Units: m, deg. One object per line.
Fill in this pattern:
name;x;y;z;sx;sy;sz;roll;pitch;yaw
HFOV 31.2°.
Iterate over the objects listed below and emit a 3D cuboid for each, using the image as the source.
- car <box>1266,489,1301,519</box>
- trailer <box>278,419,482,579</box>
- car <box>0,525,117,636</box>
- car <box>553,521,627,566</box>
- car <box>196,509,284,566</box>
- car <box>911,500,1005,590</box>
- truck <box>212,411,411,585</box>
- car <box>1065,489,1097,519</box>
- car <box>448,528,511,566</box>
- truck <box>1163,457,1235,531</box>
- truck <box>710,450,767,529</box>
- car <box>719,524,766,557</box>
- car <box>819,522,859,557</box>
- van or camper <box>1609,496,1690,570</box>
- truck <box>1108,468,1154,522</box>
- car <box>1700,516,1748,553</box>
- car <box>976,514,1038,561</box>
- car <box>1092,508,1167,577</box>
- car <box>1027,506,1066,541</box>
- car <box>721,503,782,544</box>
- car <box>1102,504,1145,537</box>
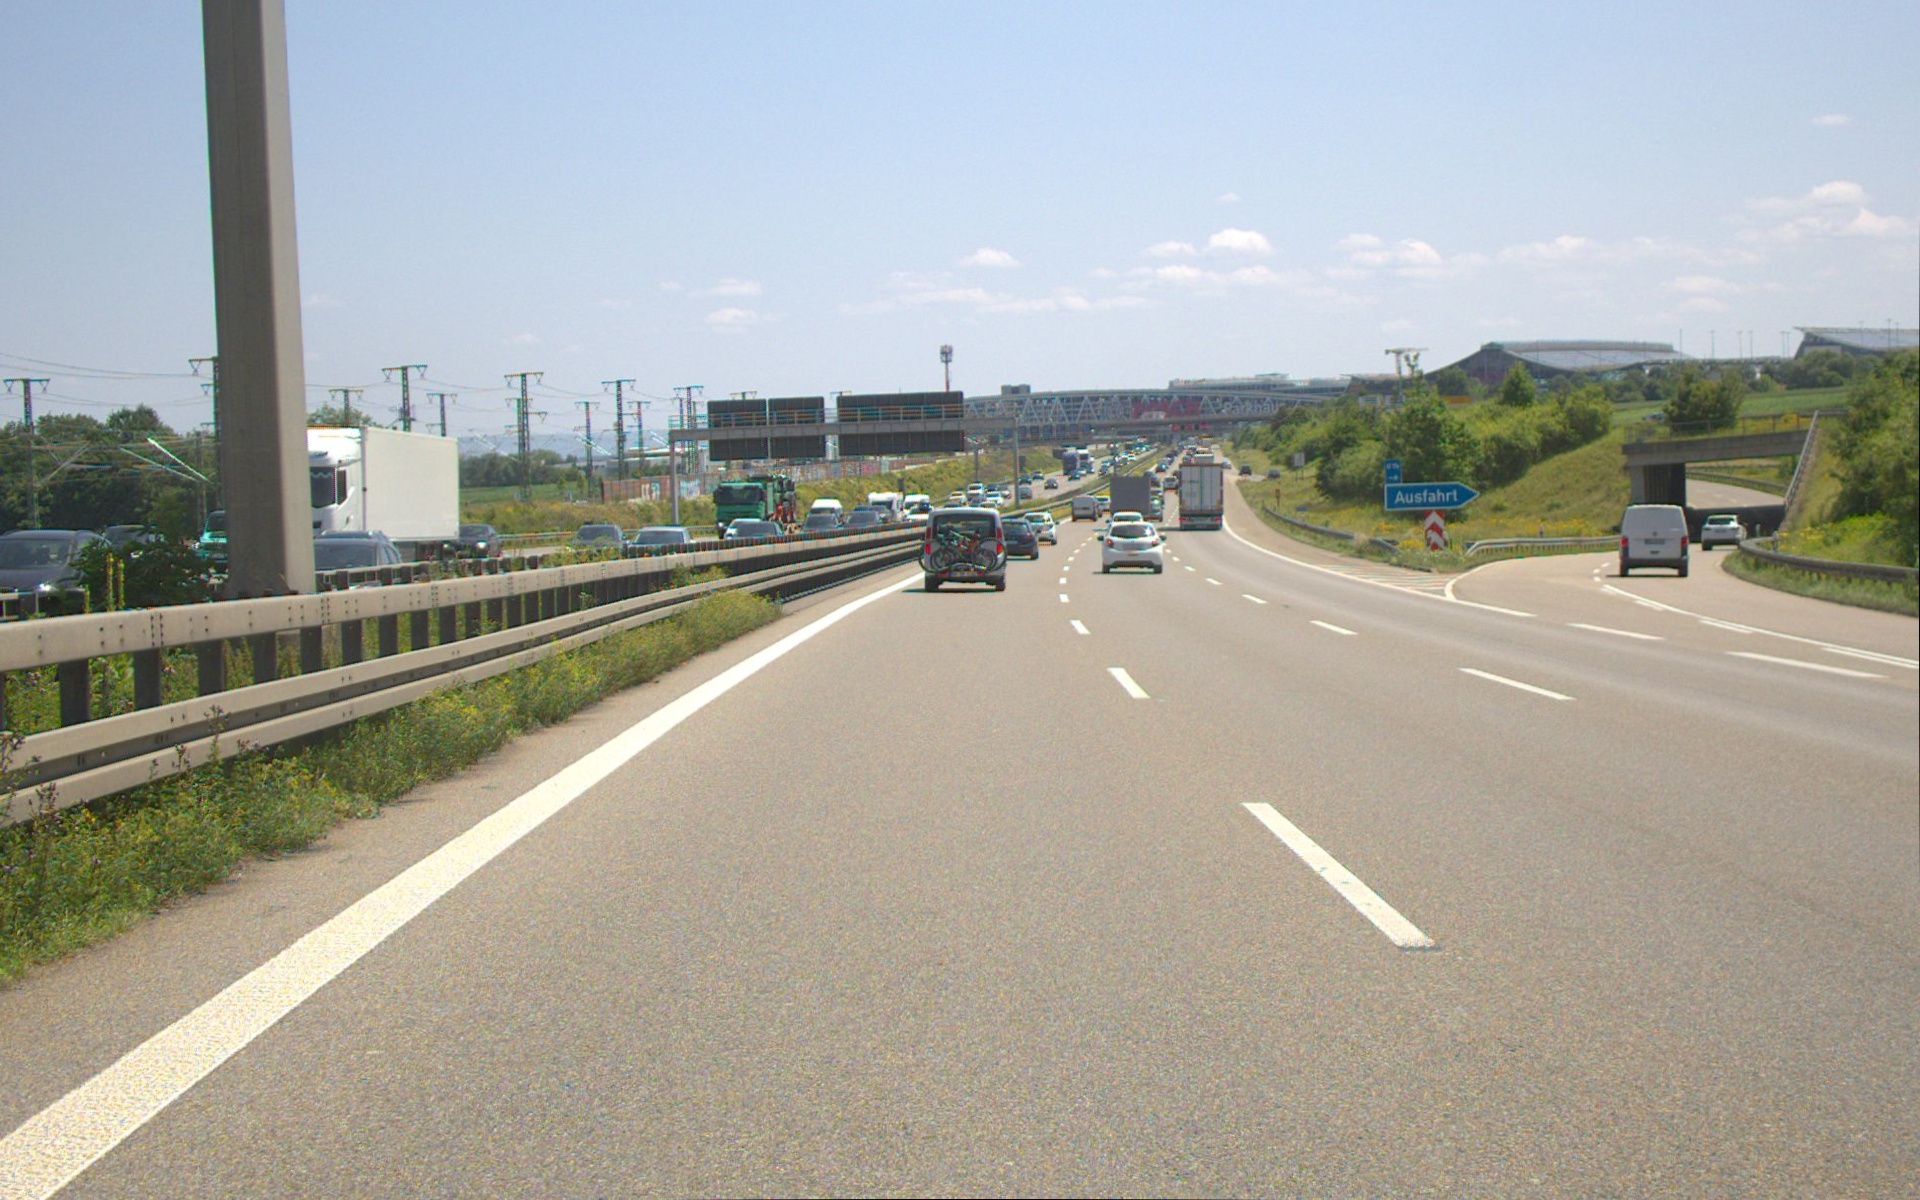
car;21.601;-6.447;229.913;1.926;1.912;4.518;0;3;0
trailer;-15.970;-2.730;95.627;3.223;4.178;11.409;0;1;3
car;-13.724;-0.316;50.412;1.742;1.555;4.000;0;1;0
car;-12.304;-1.906;114.578;1.841;1.455;4.997;0;1;1
car;-22.469;-1.921;107.390;1.805;1.742;4.000;0;0;2
car;-0.018;-1.189;75.809;1.927;1.912;4.948;0;0;2
truck;-16.334;-2.555;87.134;3.248;4.195;7.693;0;1;3
car;8.763;-6.999;249.279;2.186;1.996;4.001;0;4;1
car;-18.261;-2.032;130.743;1.696;1.420;4.455;0;1;1
truck;14.488;-6.528;209.252;4.039;4.247;11.758;0;3;2
truck;-12.290;-6.095;191.261;2.759;4.230;6.978;0;0;0
car;-10.075;-2.762;159.467;1.756;1.476;4.634;0;1;1
car;-6.065;-3.037;172.933;1.756;1.735;4.721;0;1;1
van or camper;19.185;-1.837;95.801;2.157;2.007;4.302;0;0;11
truck;10.478;-6.414;211.561;2.702;3.098;10.658;0;1;2
car;37.346;-3.190;168.004;1.995;1.744;3.997;0;1;17
car;1.680;-2.183;121.814;1.927;1.621;4.517;0;0;5
car;4.798;-1.628;97.744;1.926;1.912;4.518;0;0;0
car;4.010;-3.512;158.785;1.576;1.547;3.963;0;0;5
car;-7.684;-2.835;126.991;1.841;1.455;4.997;0;1;1
car;7.598;-3.682;160.299;1.982;1.468;4.000;-1;1;2
